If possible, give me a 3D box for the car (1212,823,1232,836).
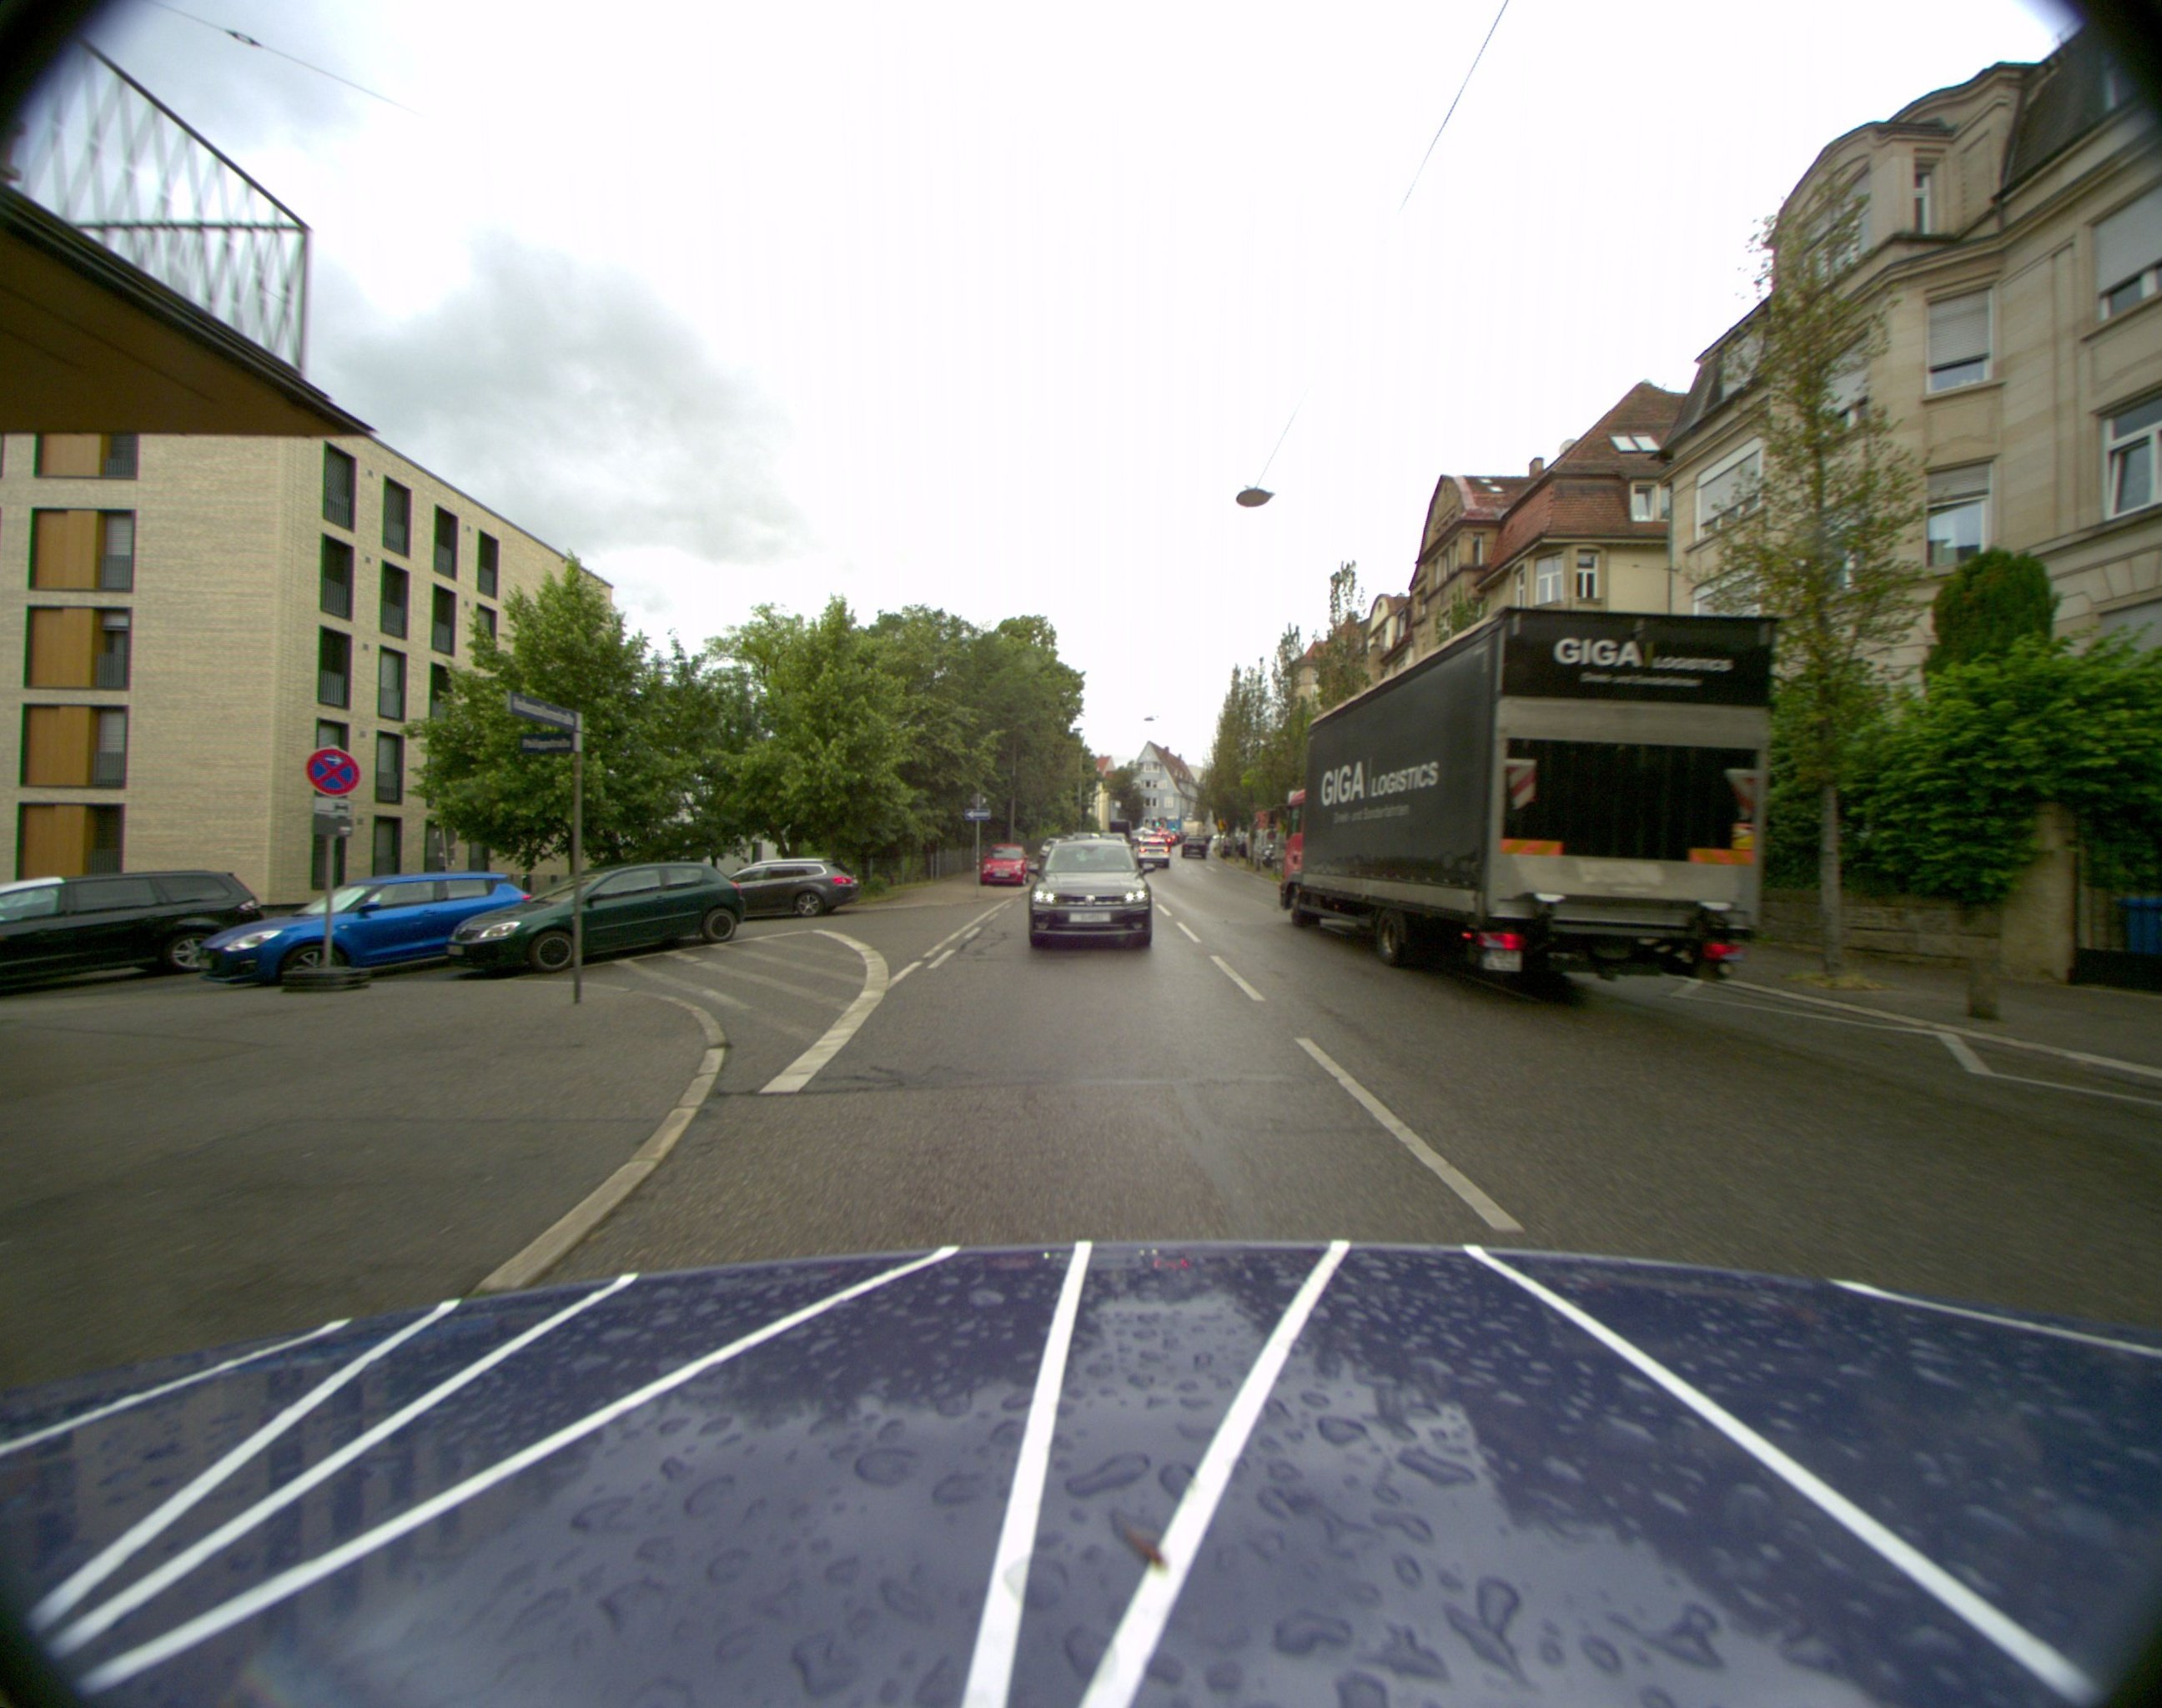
[{"bbox_3d":[23.868,-4.185,128.539,2.132,2.015,5.417,3,2,21],"label":"car"}]

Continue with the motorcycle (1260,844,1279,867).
[{"bbox_3d":[10.538,0.056,42.567,0.657,1.229,1.982,1,2,4],"label":"motorcycle"}]

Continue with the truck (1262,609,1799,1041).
[{"bbox_3d":[5.178,-0.342,11.579,2.654,3.833,9.305,2,1,1],"label":"truck"}]

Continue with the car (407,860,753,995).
[{"bbox_3d":[-7.693,0.995,12.119,1.850,1.461,4.116,-1,3,32],"label":"car"}]

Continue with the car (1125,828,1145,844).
[{"bbox_3d":[5.803,-1.962,81.167,1.924,1.642,4.136,-1,1,7],"label":"car"}]

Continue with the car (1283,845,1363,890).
[{"bbox_3d":[9.571,0.473,30.413,1.746,1.550,4.300,-1,2,-1],"label":"car"}]

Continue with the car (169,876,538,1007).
[{"bbox_3d":[-10.721,1.155,11.514,1.704,1.483,3.643,-1,1,27],"label":"car"}]

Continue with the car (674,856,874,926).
[{"bbox_3d":[-7.725,0.902,19.492,4.280,1.489,2.002,-3,0,-4],"label":"car"}]

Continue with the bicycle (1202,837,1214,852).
[{"bbox_3d":[11.024,-0.821,65.988,0.657,1.229,1.981,1,2,1],"label":"bicycle"}]

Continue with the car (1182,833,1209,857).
[{"bbox_3d":[8.500,-0.701,56.742,1.747,1.509,3.869,4,3,7],"label":"car"}]

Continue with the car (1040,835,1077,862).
[{"bbox_3d":[-1.376,-0.385,48.325,1.745,1.455,4.883,4,2,4],"label":"car"}]

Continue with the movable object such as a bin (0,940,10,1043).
[{"bbox_3d":[-10.017,1.238,6.658,0.506,0.925,0.513,2,-1,1],"label":"movable object such as a bin"}]

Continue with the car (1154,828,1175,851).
[{"bbox_3d":[6.915,-1.239,62.701,1.655,1.699,4.114,3,3,7],"label":"car"}]

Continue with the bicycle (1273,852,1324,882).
[{"bbox_3d":[9.516,0.565,33.269,1.980,1.229,0.657,1,2,0],"label":"bicycle"}]

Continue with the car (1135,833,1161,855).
[{"bbox_3d":[4.985,-0.735,56.281,1.715,1.471,4.115,3,2,7],"label":"car"}]

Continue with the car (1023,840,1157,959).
[{"bbox_3d":[0.134,0.600,13.185,1.860,1.641,5.194,0,1,0],"label":"car"}]

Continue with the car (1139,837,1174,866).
[{"bbox_3d":[4.176,-0.190,42.469,1.776,1.509,4.099,1,2,4],"label":"car"}]

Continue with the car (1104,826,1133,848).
[{"bbox_3d":[3.002,-1.342,60.771,1.924,1.642,4.136,-1,1,8],"label":"car"}]

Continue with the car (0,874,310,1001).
[{"bbox_3d":[-15.998,1.274,12.316,1.704,1.714,4.547,-1,0,25],"label":"car"}]

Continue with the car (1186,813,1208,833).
[{"bbox_3d":[15.365,-4.042,100.474,2.133,2.492,5.414,3,2,15],"label":"car"}]

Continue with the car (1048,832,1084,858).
[{"bbox_3d":[-0.986,-0.686,53.727,1.924,1.642,4.884,4,2,5],"label":"car"}]

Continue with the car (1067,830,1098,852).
[{"bbox_3d":[0.196,-1.146,64.060,1.971,1.642,4.816,4,3,6],"label":"car"}]

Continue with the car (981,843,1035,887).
[{"bbox_3d":[-2.755,0.360,29.372,1.613,1.493,3.957,2,2,1],"label":"car"}]

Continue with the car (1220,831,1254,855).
[{"bbox_3d":[11.422,-0.855,55.724,2.000,1.587,3.828,-2,2,6],"label":"car"}]

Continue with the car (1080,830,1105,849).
[{"bbox_3d":[1.081,-1.372,69.922,1.924,1.553,4.012,4,3,5],"label":"car"}]

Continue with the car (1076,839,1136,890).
[{"bbox_3d":[0.838,0.305,27.253,1.925,1.642,4.485,-1,1,0],"label":"car"}]

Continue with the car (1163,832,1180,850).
[{"bbox_3d":[9.466,-1.351,79.578,1.655,1.699,4.114,3,3,7],"label":"car"}]

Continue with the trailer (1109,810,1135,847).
[{"bbox_3d":[3.451,-2.102,63.874,1.966,3.024,2.365,-1,2,8],"label":"trailer"}]

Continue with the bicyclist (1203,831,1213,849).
[{"bbox_3d":[11.028,-1.254,65.864,0.657,1.548,0.991,1,2,1],"label":"bicyclist"}]
